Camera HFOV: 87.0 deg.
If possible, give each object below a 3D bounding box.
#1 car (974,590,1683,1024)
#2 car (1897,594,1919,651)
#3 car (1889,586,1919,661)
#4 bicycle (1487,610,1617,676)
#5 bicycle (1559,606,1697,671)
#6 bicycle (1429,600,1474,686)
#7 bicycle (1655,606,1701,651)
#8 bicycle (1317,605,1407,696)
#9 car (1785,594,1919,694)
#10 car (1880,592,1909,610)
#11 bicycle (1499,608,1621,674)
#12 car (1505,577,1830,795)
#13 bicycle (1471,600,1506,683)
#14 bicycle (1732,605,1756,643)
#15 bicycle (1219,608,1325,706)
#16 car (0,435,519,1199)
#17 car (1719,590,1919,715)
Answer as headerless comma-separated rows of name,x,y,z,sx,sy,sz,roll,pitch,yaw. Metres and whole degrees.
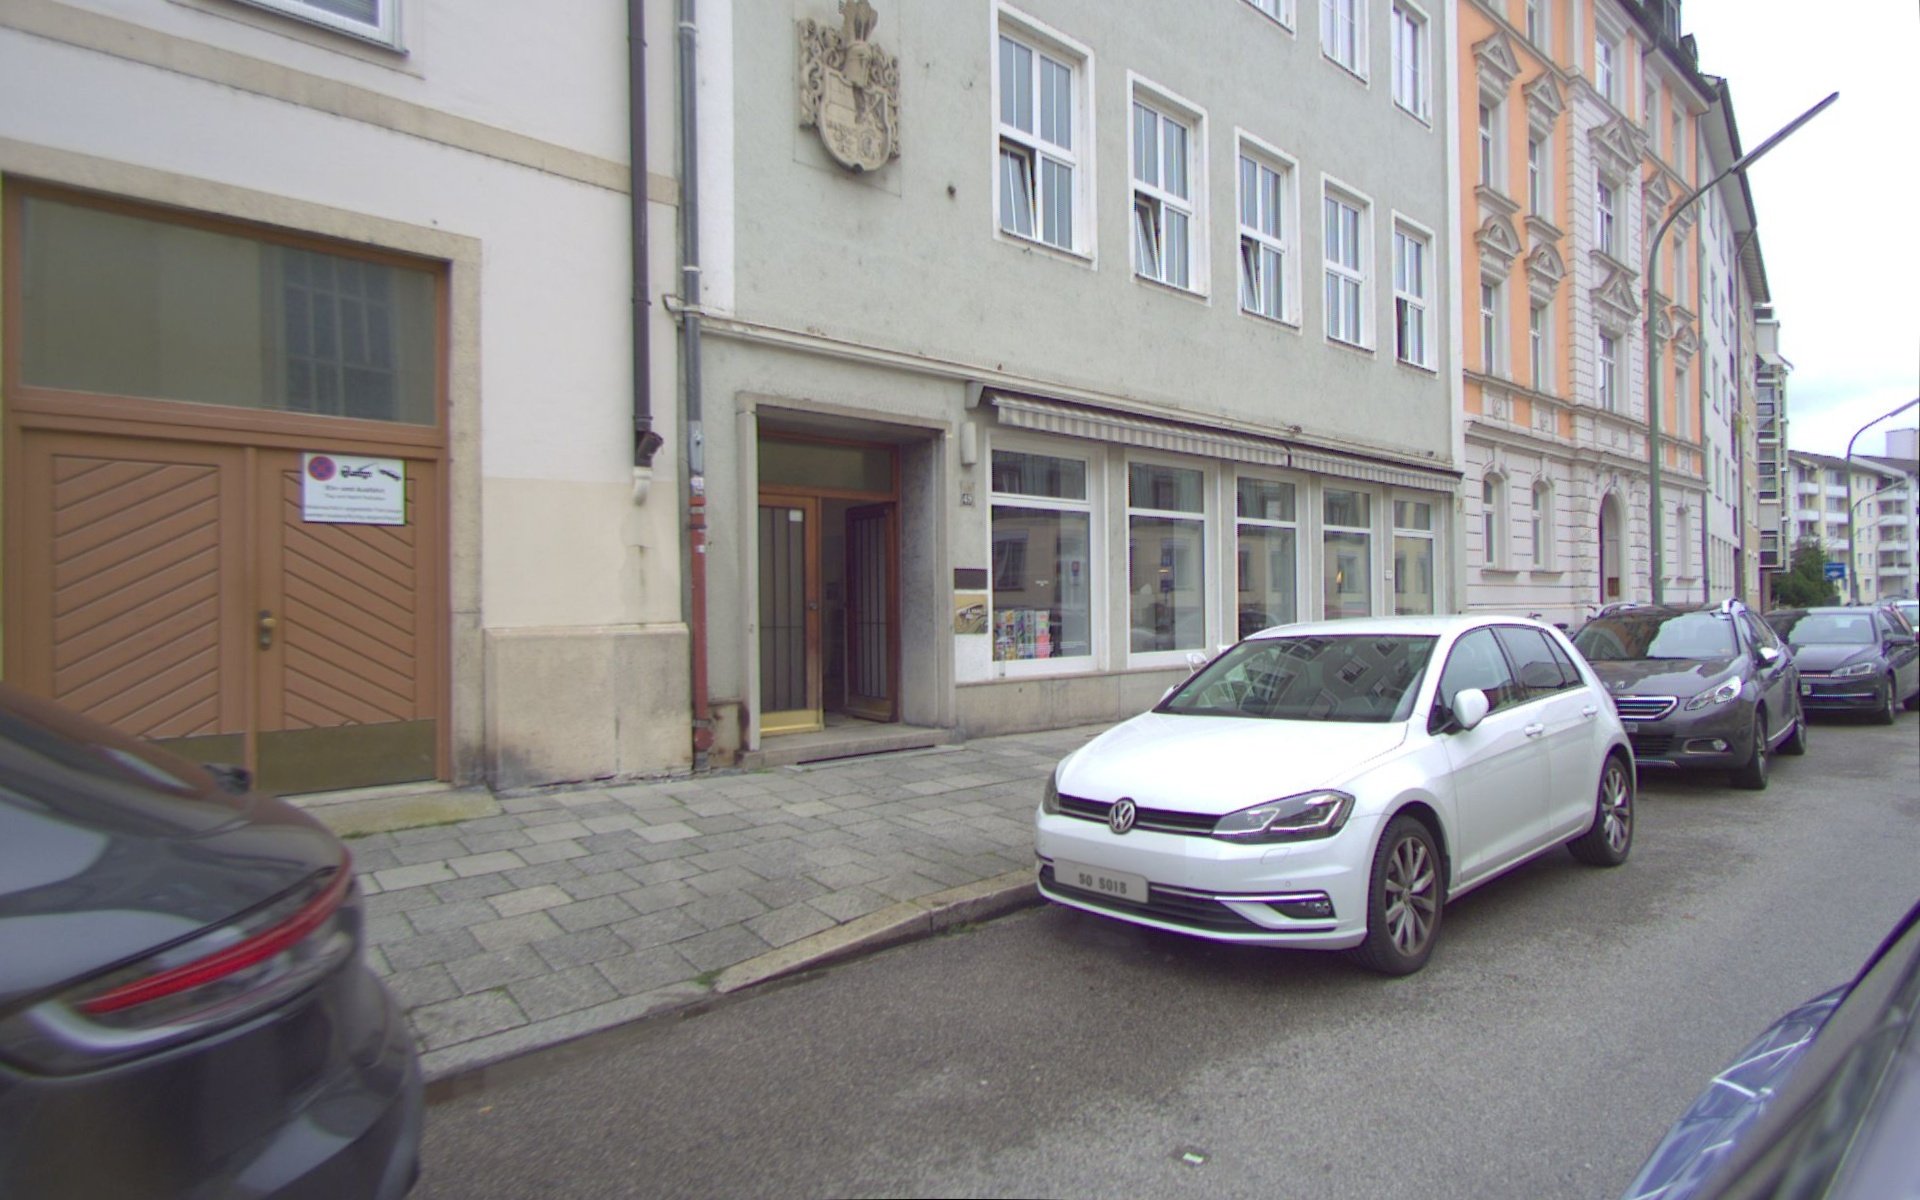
car,2.308,0.725,5.570,4.451,1.447,1.675,-1,-2,-41
car,27.205,0.573,27.752,4.469,1.513,1.745,0,-1,-41
car,23.441,0.505,24.156,1.679,1.695,3.748,-3,-2,41
bicycle,9.971,0.715,17.084,1.816,1.081,0.515,0,0,8
bicycle,12.227,0.692,18.563,2.055,1.153,0.583,0,0,6
bicycle,7.555,0.636,15.534,0.247,1.271,1.214,-1,0,44
bicycle,17.267,0.669,24.312,1.788,1.037,0.596,0,0,-45
bicycle,5.697,0.685,14.295,1.784,1.191,0.396,-1,-1,-42
car,15.461,0.690,17.221,4.079,1.520,1.688,0,-3,-44
car,81.511,0.105,88.271,1.749,1.511,3.940,-2,-1,42
bicycle,10.369,0.693,17.521,1.778,1.103,0.622,0,0,-6
car,6.848,0.659,9.597,4.290,1.613,1.707,0,-2,-44
bicycle,8.348,0.636,15.980,0.247,1.271,0.902,-1,0,44
bicycle,23.446,0.702,30.263,0.528,1.085,1.972,-1,-1,38
bicycle,4.087,0.705,13.164,1.916,1.172,0.384,0,-1,-42
car,-2.983,0.644,0.665,4.625,1.542,1.843,-1,-2,-40
car,11.945,0.601,13.711,4.286,1.420,1.690,-1,-1,-40
